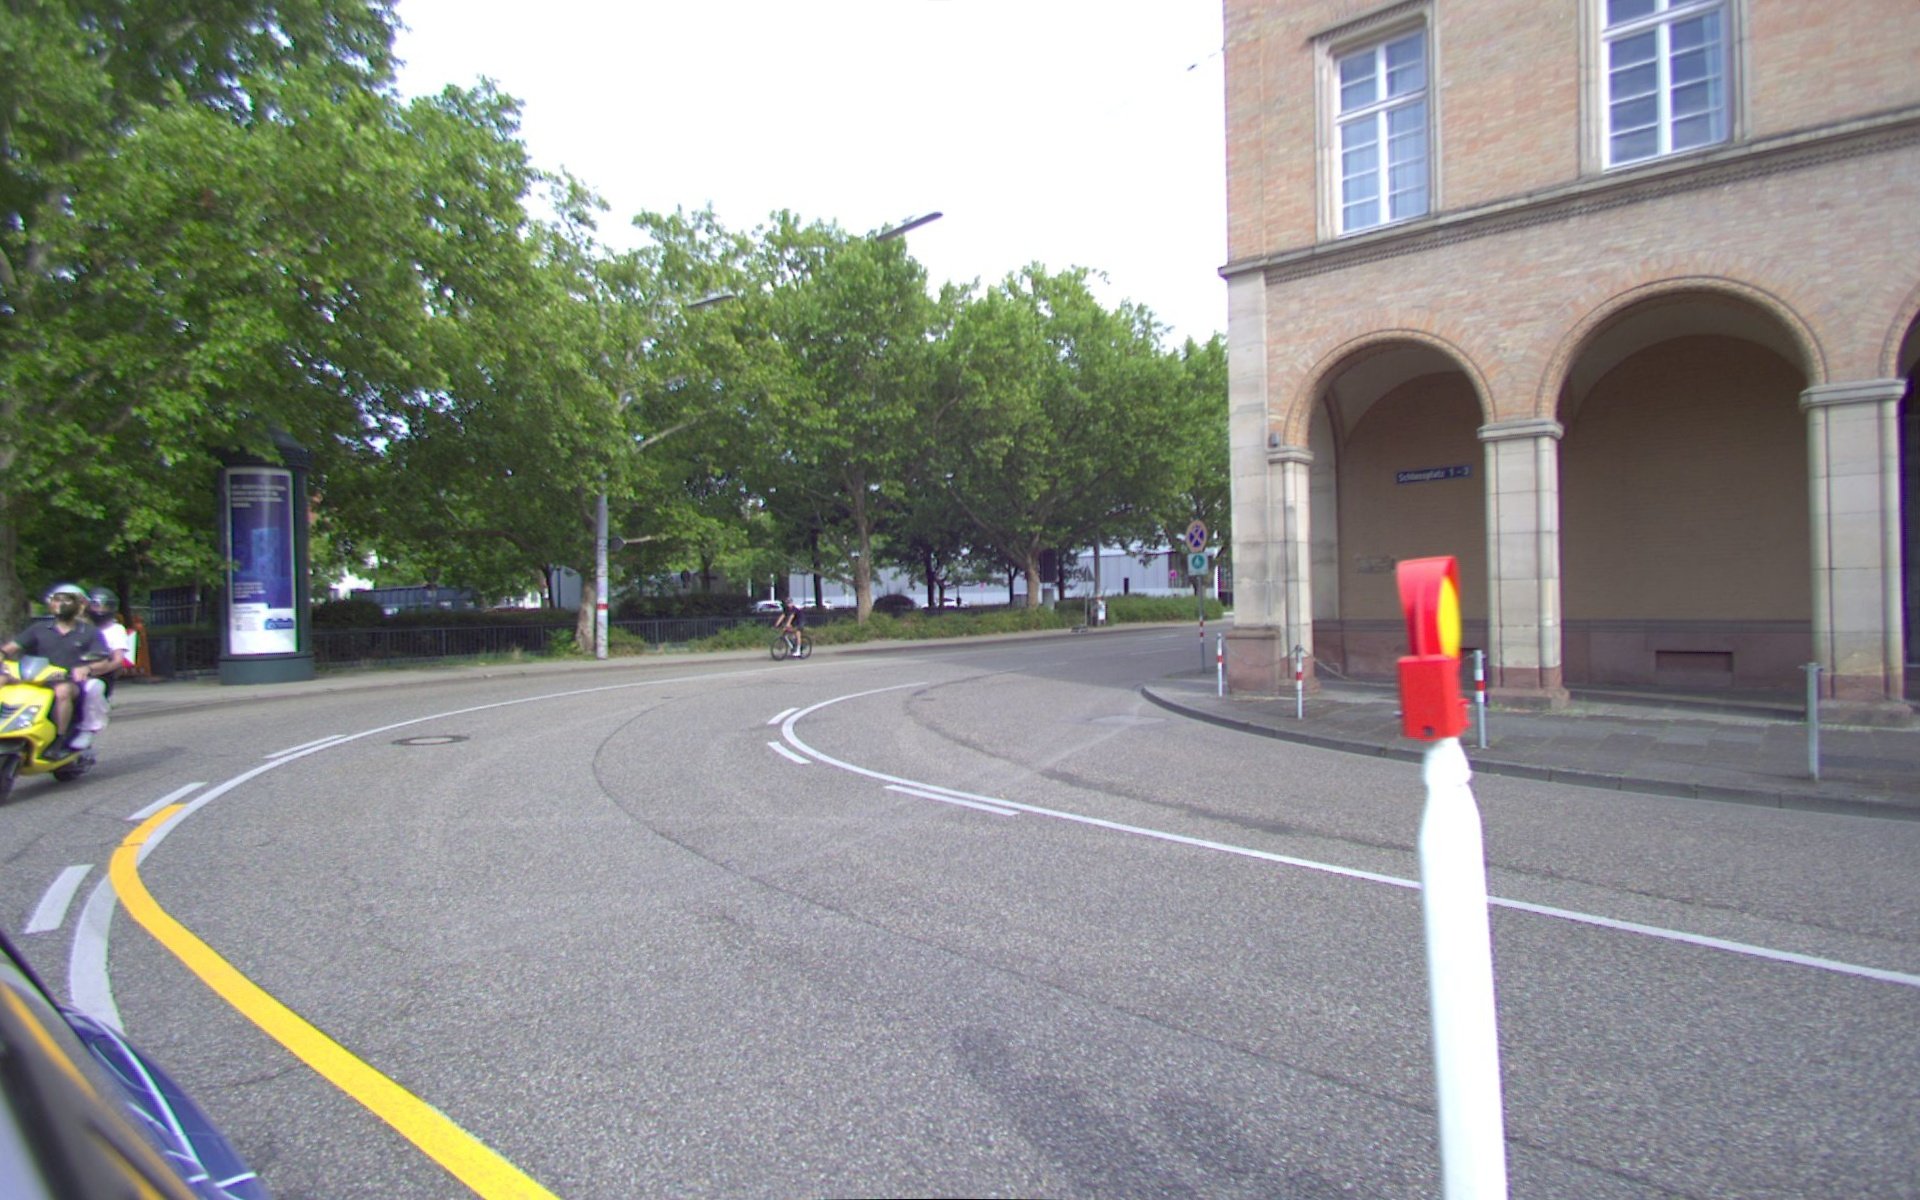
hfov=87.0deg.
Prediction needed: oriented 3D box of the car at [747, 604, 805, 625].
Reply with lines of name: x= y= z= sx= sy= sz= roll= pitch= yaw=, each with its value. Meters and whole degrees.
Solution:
car: x=-15.497 y=1.240 z=85.415 sx=1.997 sy=1.643 sz=4.714 roll=-4 pitch=-2 yaw=37

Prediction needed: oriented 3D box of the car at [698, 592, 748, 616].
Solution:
car: x=-21.243 y=0.359 z=90.783 sx=1.999 sy=2.029 sz=3.946 roll=-4 pitch=-2 yaw=40

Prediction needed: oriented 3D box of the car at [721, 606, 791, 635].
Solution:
car: x=-14.047 y=1.394 z=69.863 sx=1.994 sy=1.808 sz=4.720 roll=-3 pitch=-2 yaw=32

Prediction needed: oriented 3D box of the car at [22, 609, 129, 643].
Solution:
car: x=-45.365 y=1.299 z=51.972 sx=1.994 sy=1.592 sz=3.747 roll=-3 pitch=-2 yaw=32

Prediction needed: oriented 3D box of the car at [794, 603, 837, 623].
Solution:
car: x=-14.439 y=1.288 z=101.324 sx=3.860 sy=1.875 sz=1.936 roll=-3 pitch=-2 yaw=27

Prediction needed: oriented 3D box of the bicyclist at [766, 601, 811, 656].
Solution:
bicyclist: x=-4.680 y=0.777 z=27.625 sx=0.783 sy=1.458 sz=0.903 roll=-3 pitch=-2 yaw=34

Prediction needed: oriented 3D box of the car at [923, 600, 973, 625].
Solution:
car: x=-1.095 y=1.145 z=89.945 sx=3.986 sy=2.029 sz=1.979 roll=-3 pitch=-2 yaw=31

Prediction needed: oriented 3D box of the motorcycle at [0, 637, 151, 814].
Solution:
motorcycle: x=-7.360 y=0.925 z=8.092 sx=0.768 sy=1.187 sz=1.999 roll=1 pitch=0 yaw=-20

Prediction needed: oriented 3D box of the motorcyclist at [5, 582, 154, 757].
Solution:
motorcyclist: x=-7.618 y=0.575 z=8.797 sx=0.768 sy=1.438 sz=0.691 roll=1 pitch=0 yaw=-20

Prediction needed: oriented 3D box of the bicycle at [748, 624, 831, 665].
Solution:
bicycle: x=-4.631 y=1.193 z=27.632 sx=0.769 sy=1.023 sz=2.379 roll=-3 pitch=-2 yaw=34

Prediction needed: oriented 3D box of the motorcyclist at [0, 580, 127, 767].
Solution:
motorcyclist: x=-7.373 y=0.564 z=8.170 sx=0.768 sy=1.438 sz=0.766 roll=1 pitch=0 yaw=-20
